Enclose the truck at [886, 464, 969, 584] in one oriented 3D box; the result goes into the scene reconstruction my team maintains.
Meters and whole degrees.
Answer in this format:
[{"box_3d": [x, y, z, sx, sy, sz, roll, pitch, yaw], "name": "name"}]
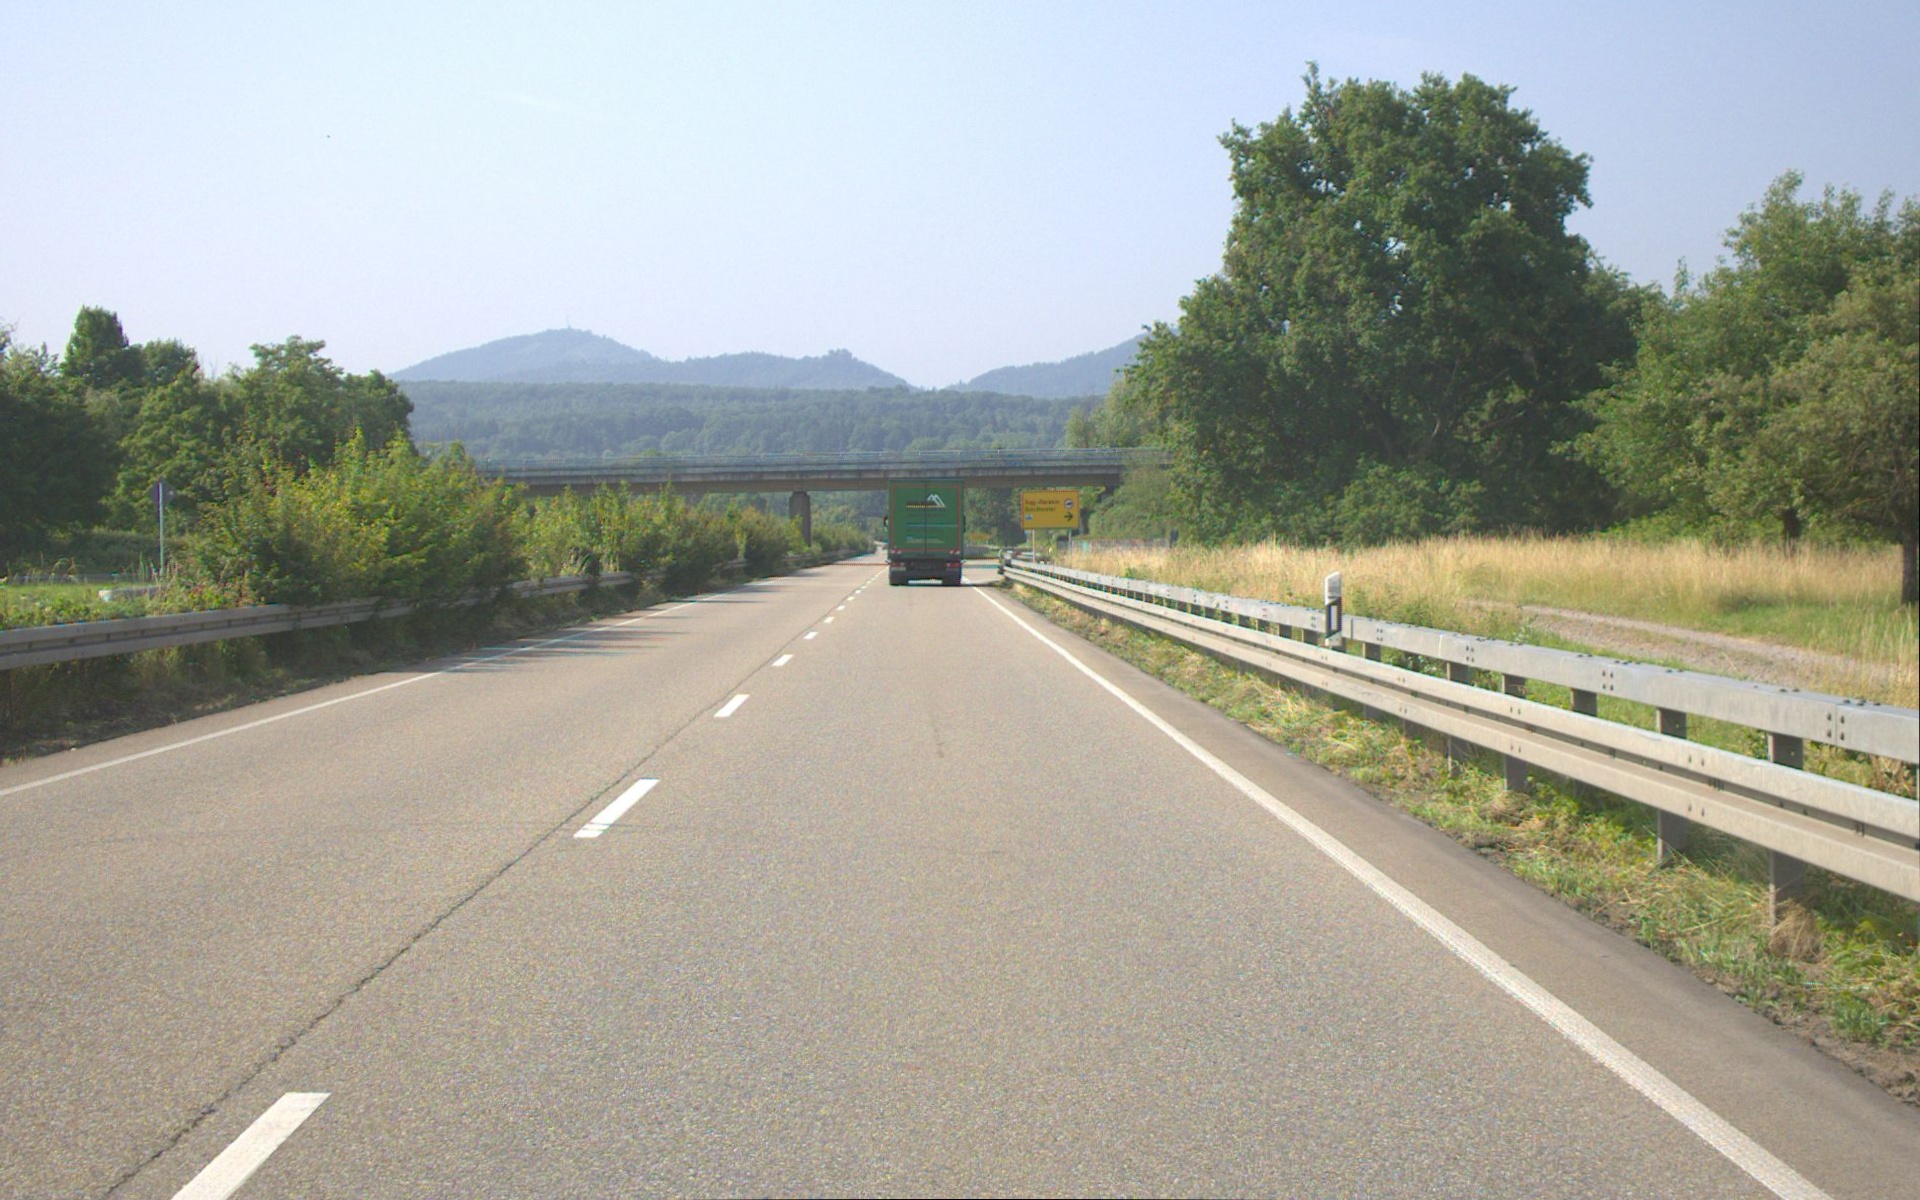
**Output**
[{"box_3d": [-1.115, -2.748, 120.460, 2.722, 3.951, 10.417, 1, 2, 0], "name": "truck"}]
